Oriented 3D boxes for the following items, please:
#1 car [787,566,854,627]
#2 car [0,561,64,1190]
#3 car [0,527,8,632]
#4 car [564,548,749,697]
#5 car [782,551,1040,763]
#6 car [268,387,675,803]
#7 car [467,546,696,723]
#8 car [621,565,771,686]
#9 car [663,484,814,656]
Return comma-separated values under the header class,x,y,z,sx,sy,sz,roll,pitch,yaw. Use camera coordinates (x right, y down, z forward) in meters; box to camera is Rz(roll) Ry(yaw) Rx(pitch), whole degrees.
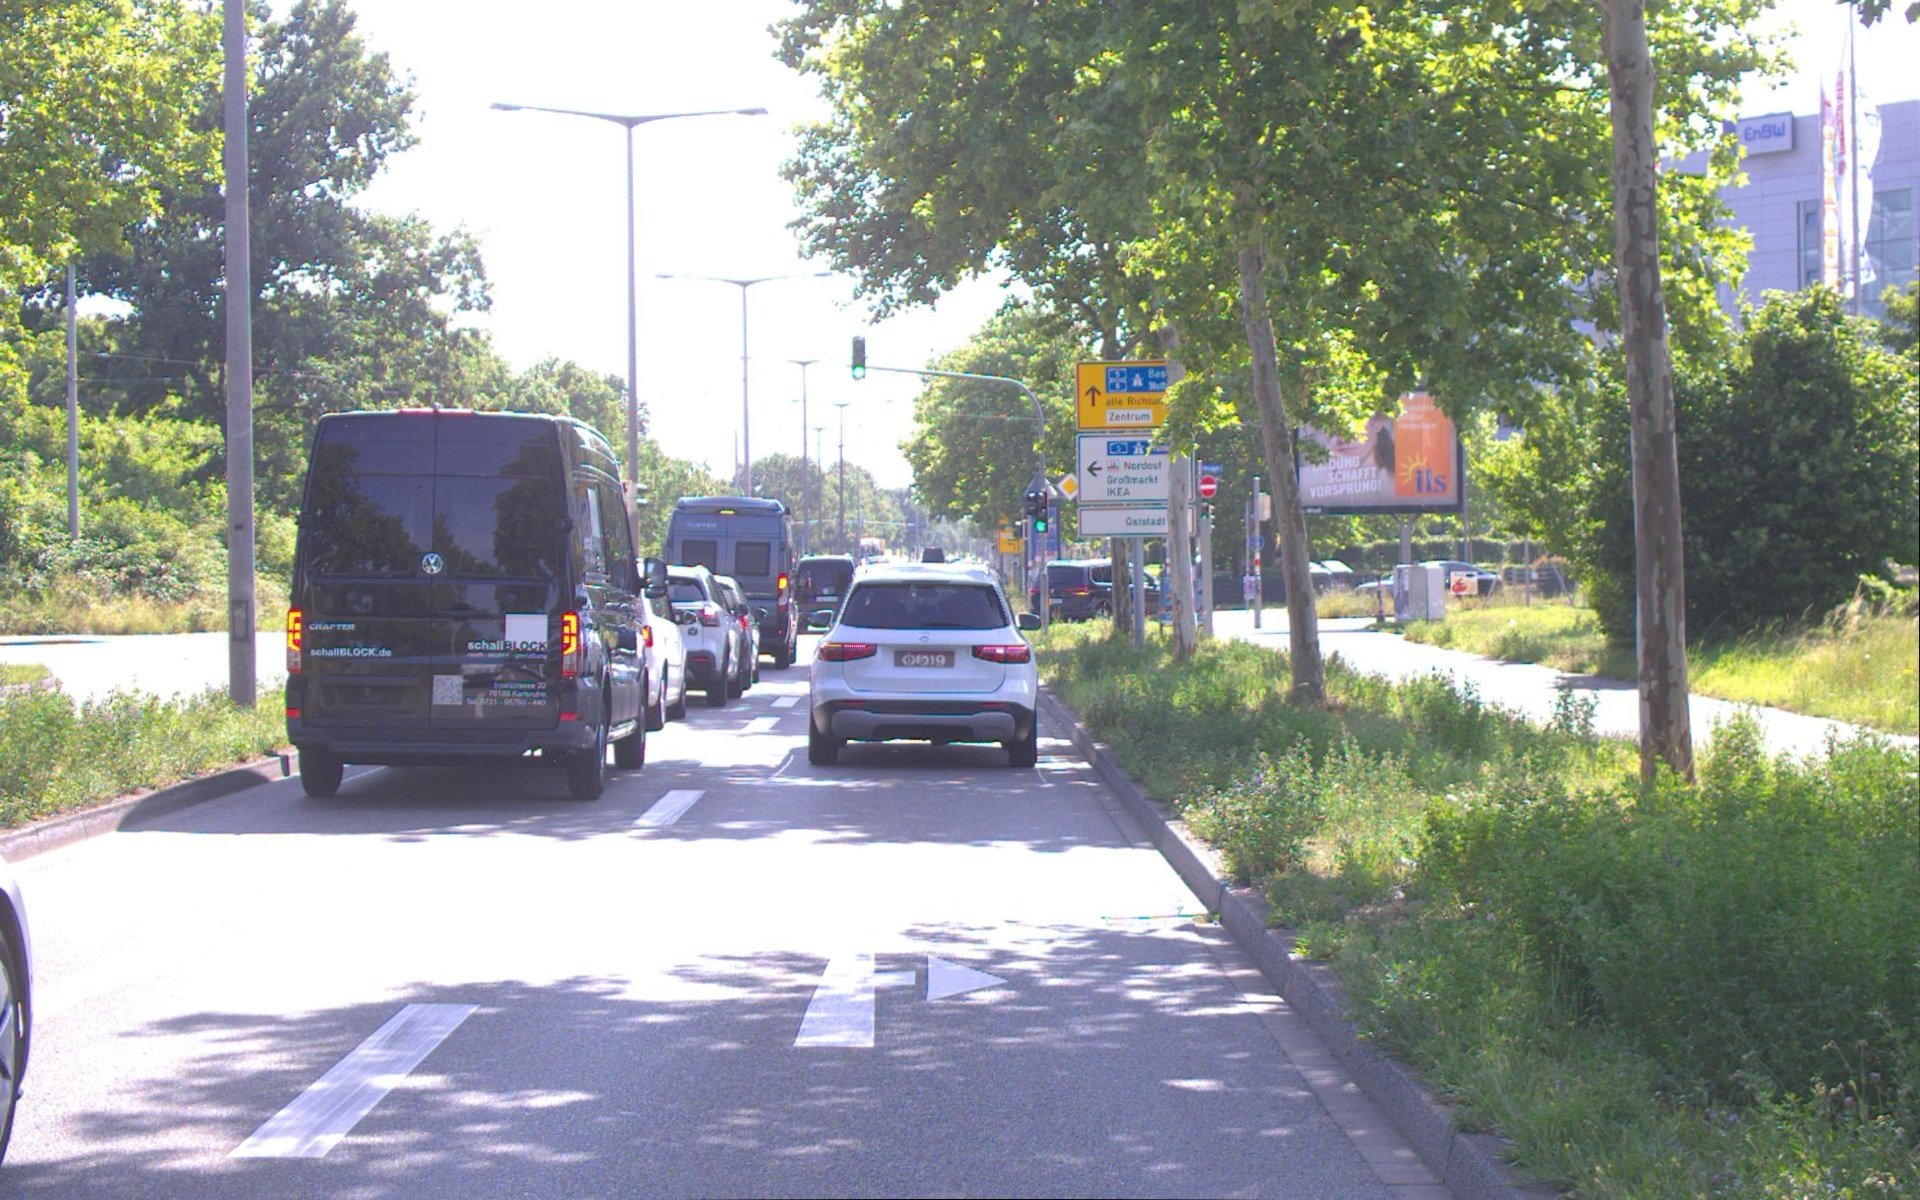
class,x,y,z,sx,sy,sz,roll,pitch,yaw
car,-3.292,-0.107,81.427,1.464,1.399,3.477,0,1,-1
car,-3.216,0.676,6.763,1.819,1.516,4.208,0,1,0
car,-24.311,-0.473,77.505,5.124,2.410,1.999,0,1,-40
car,-3.487,0.238,40.171,1.771,1.641,4.084,0,0,0
car,-0.482,0.419,28.681,1.853,1.602,4.001,1,1,-5
car,-3.334,-0.048,24.756,2.016,2.598,6.168,1,0,0
car,-3.693,0.311,34.192,1.771,1.641,4.352,0,0,0
car,-3.482,0.307,45.856,1.691,1.499,3.886,1,1,0
car,-3.560,-0.478,56.135,2.081,2.647,4.874,1,0,0
